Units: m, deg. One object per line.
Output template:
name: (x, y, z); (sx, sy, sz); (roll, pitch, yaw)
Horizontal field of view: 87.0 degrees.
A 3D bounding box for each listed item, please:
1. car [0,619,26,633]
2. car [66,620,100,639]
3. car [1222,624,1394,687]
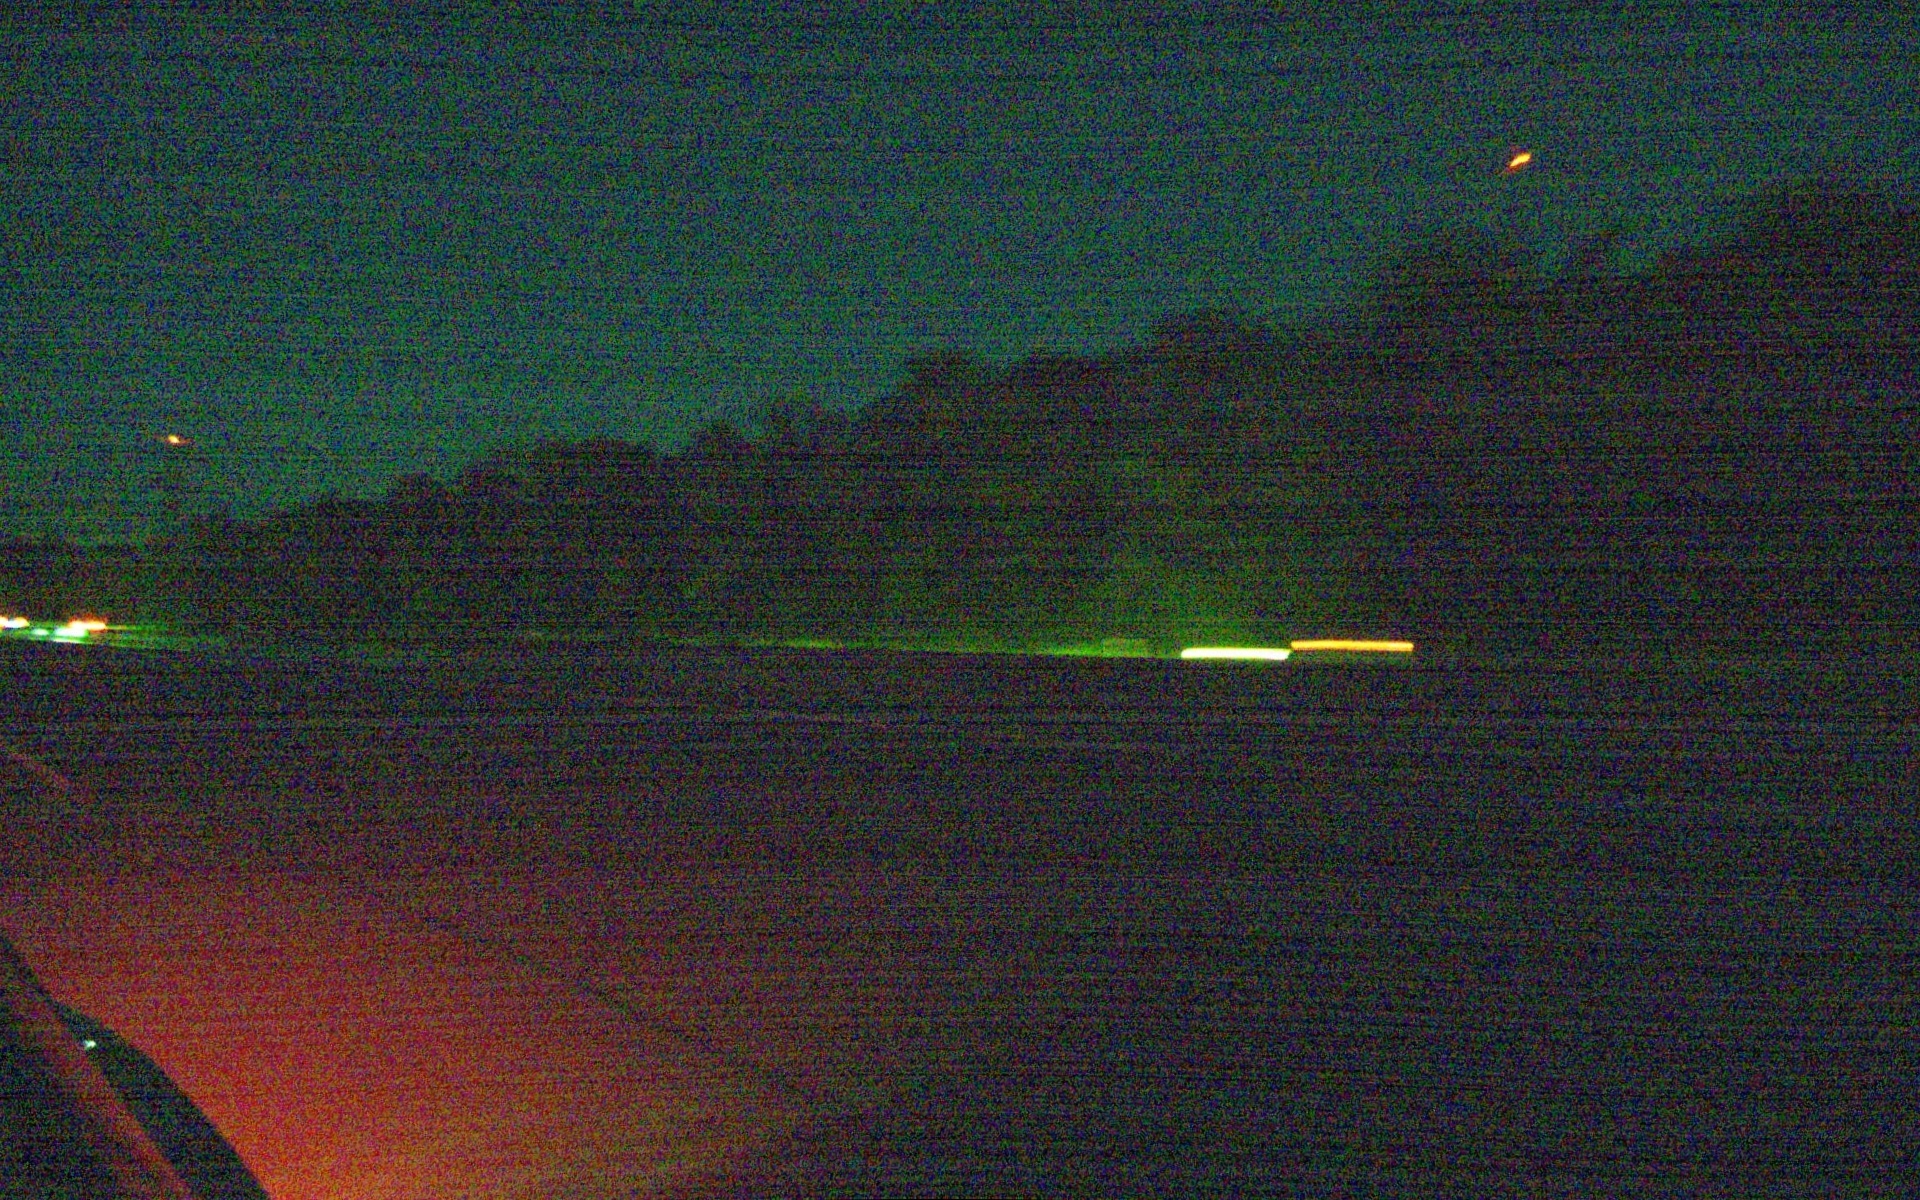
car: (-112.564, 3.108, 120.304); (3.998, 1.630, 1.835); (-1, 0, 41)
car: (-80.664, 2.666, 93.091); (3.998, 1.630, 1.835); (-1, 0, 41)
car: (9.269, 1.427, 27.092); (3.994, 1.491, 1.775); (-1, 0, 38)
